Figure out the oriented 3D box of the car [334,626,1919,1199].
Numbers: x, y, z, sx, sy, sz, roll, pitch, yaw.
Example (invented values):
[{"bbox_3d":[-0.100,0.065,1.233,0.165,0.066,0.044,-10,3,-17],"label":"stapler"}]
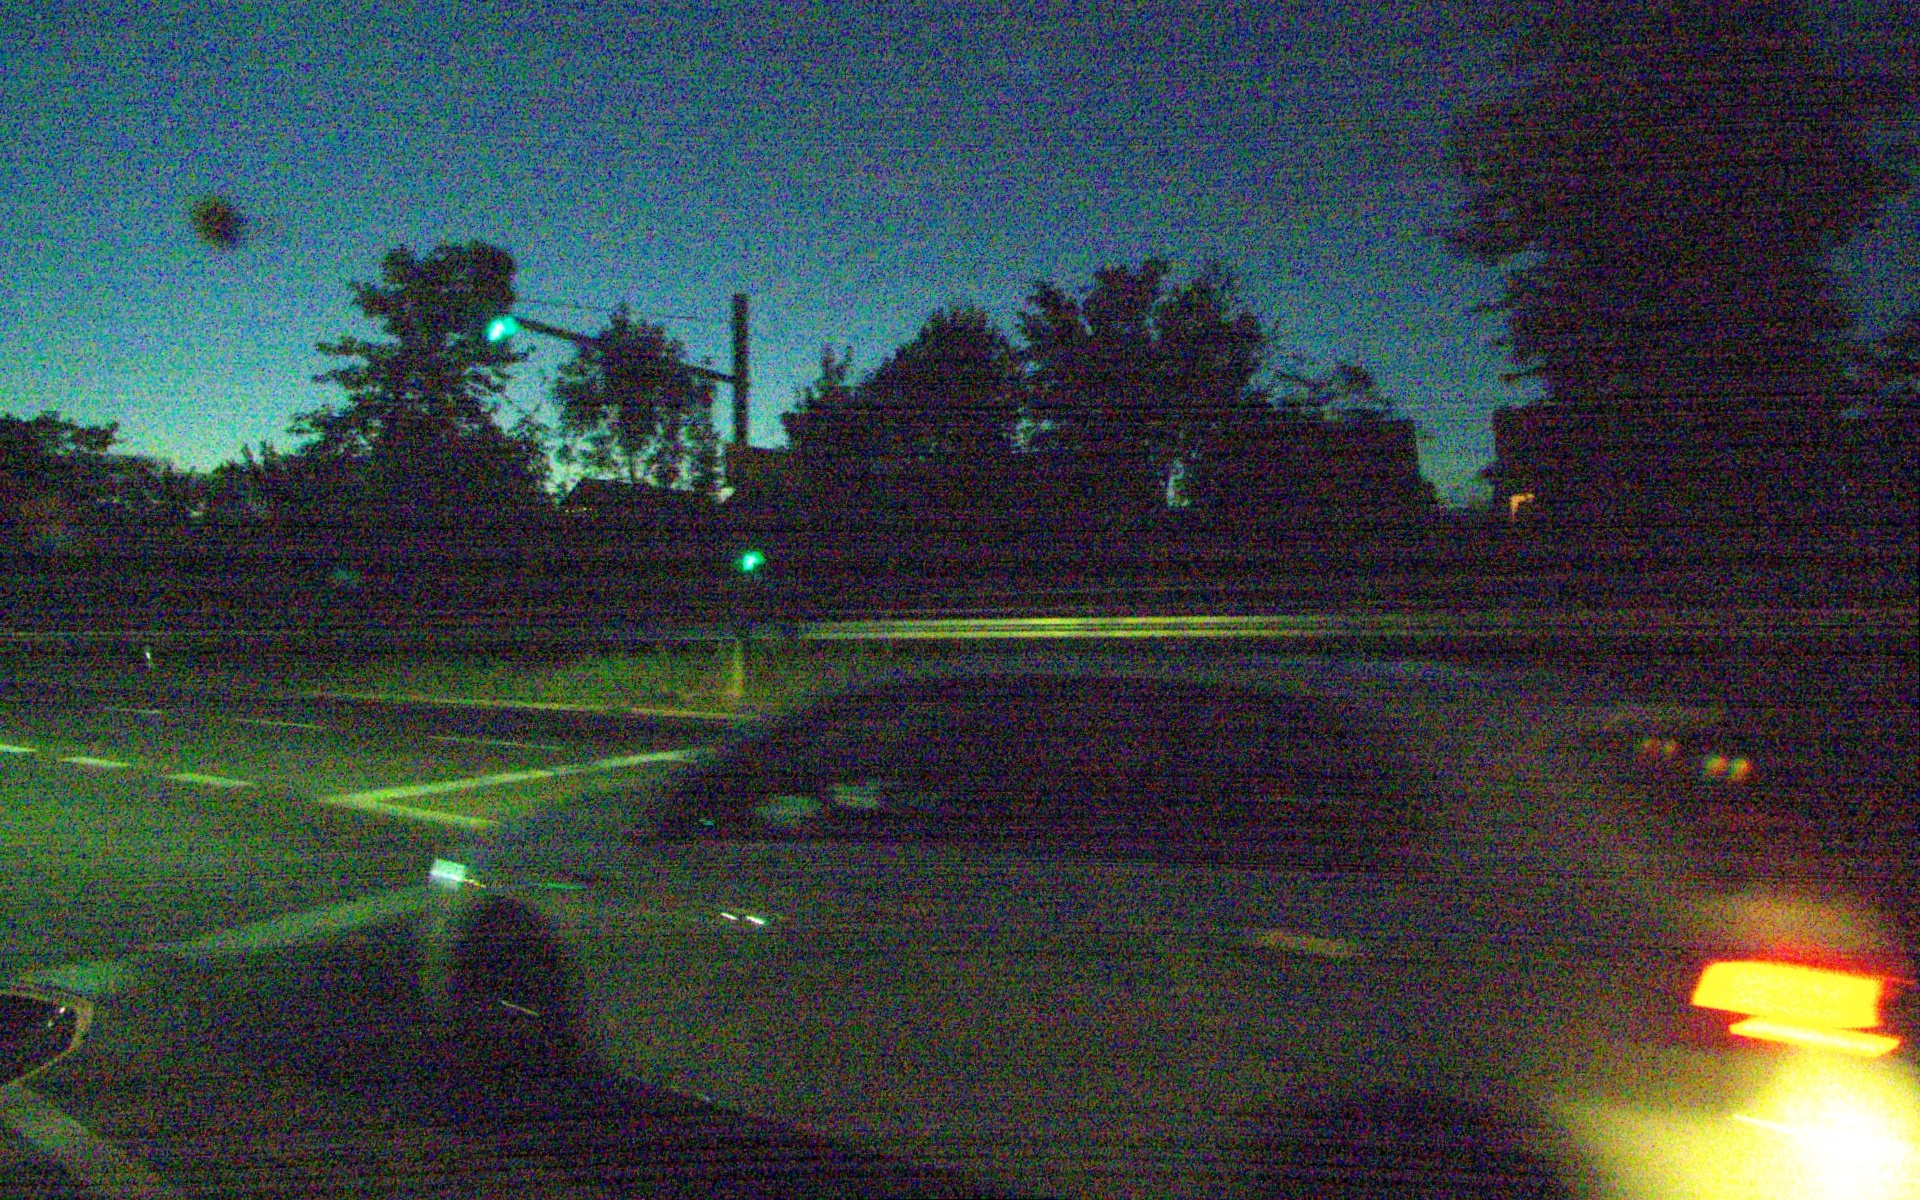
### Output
[{"bbox_3d":[0.045,0.834,3.139,4.131,1.478,1.755,0,-1,31],"label":"car"}]
